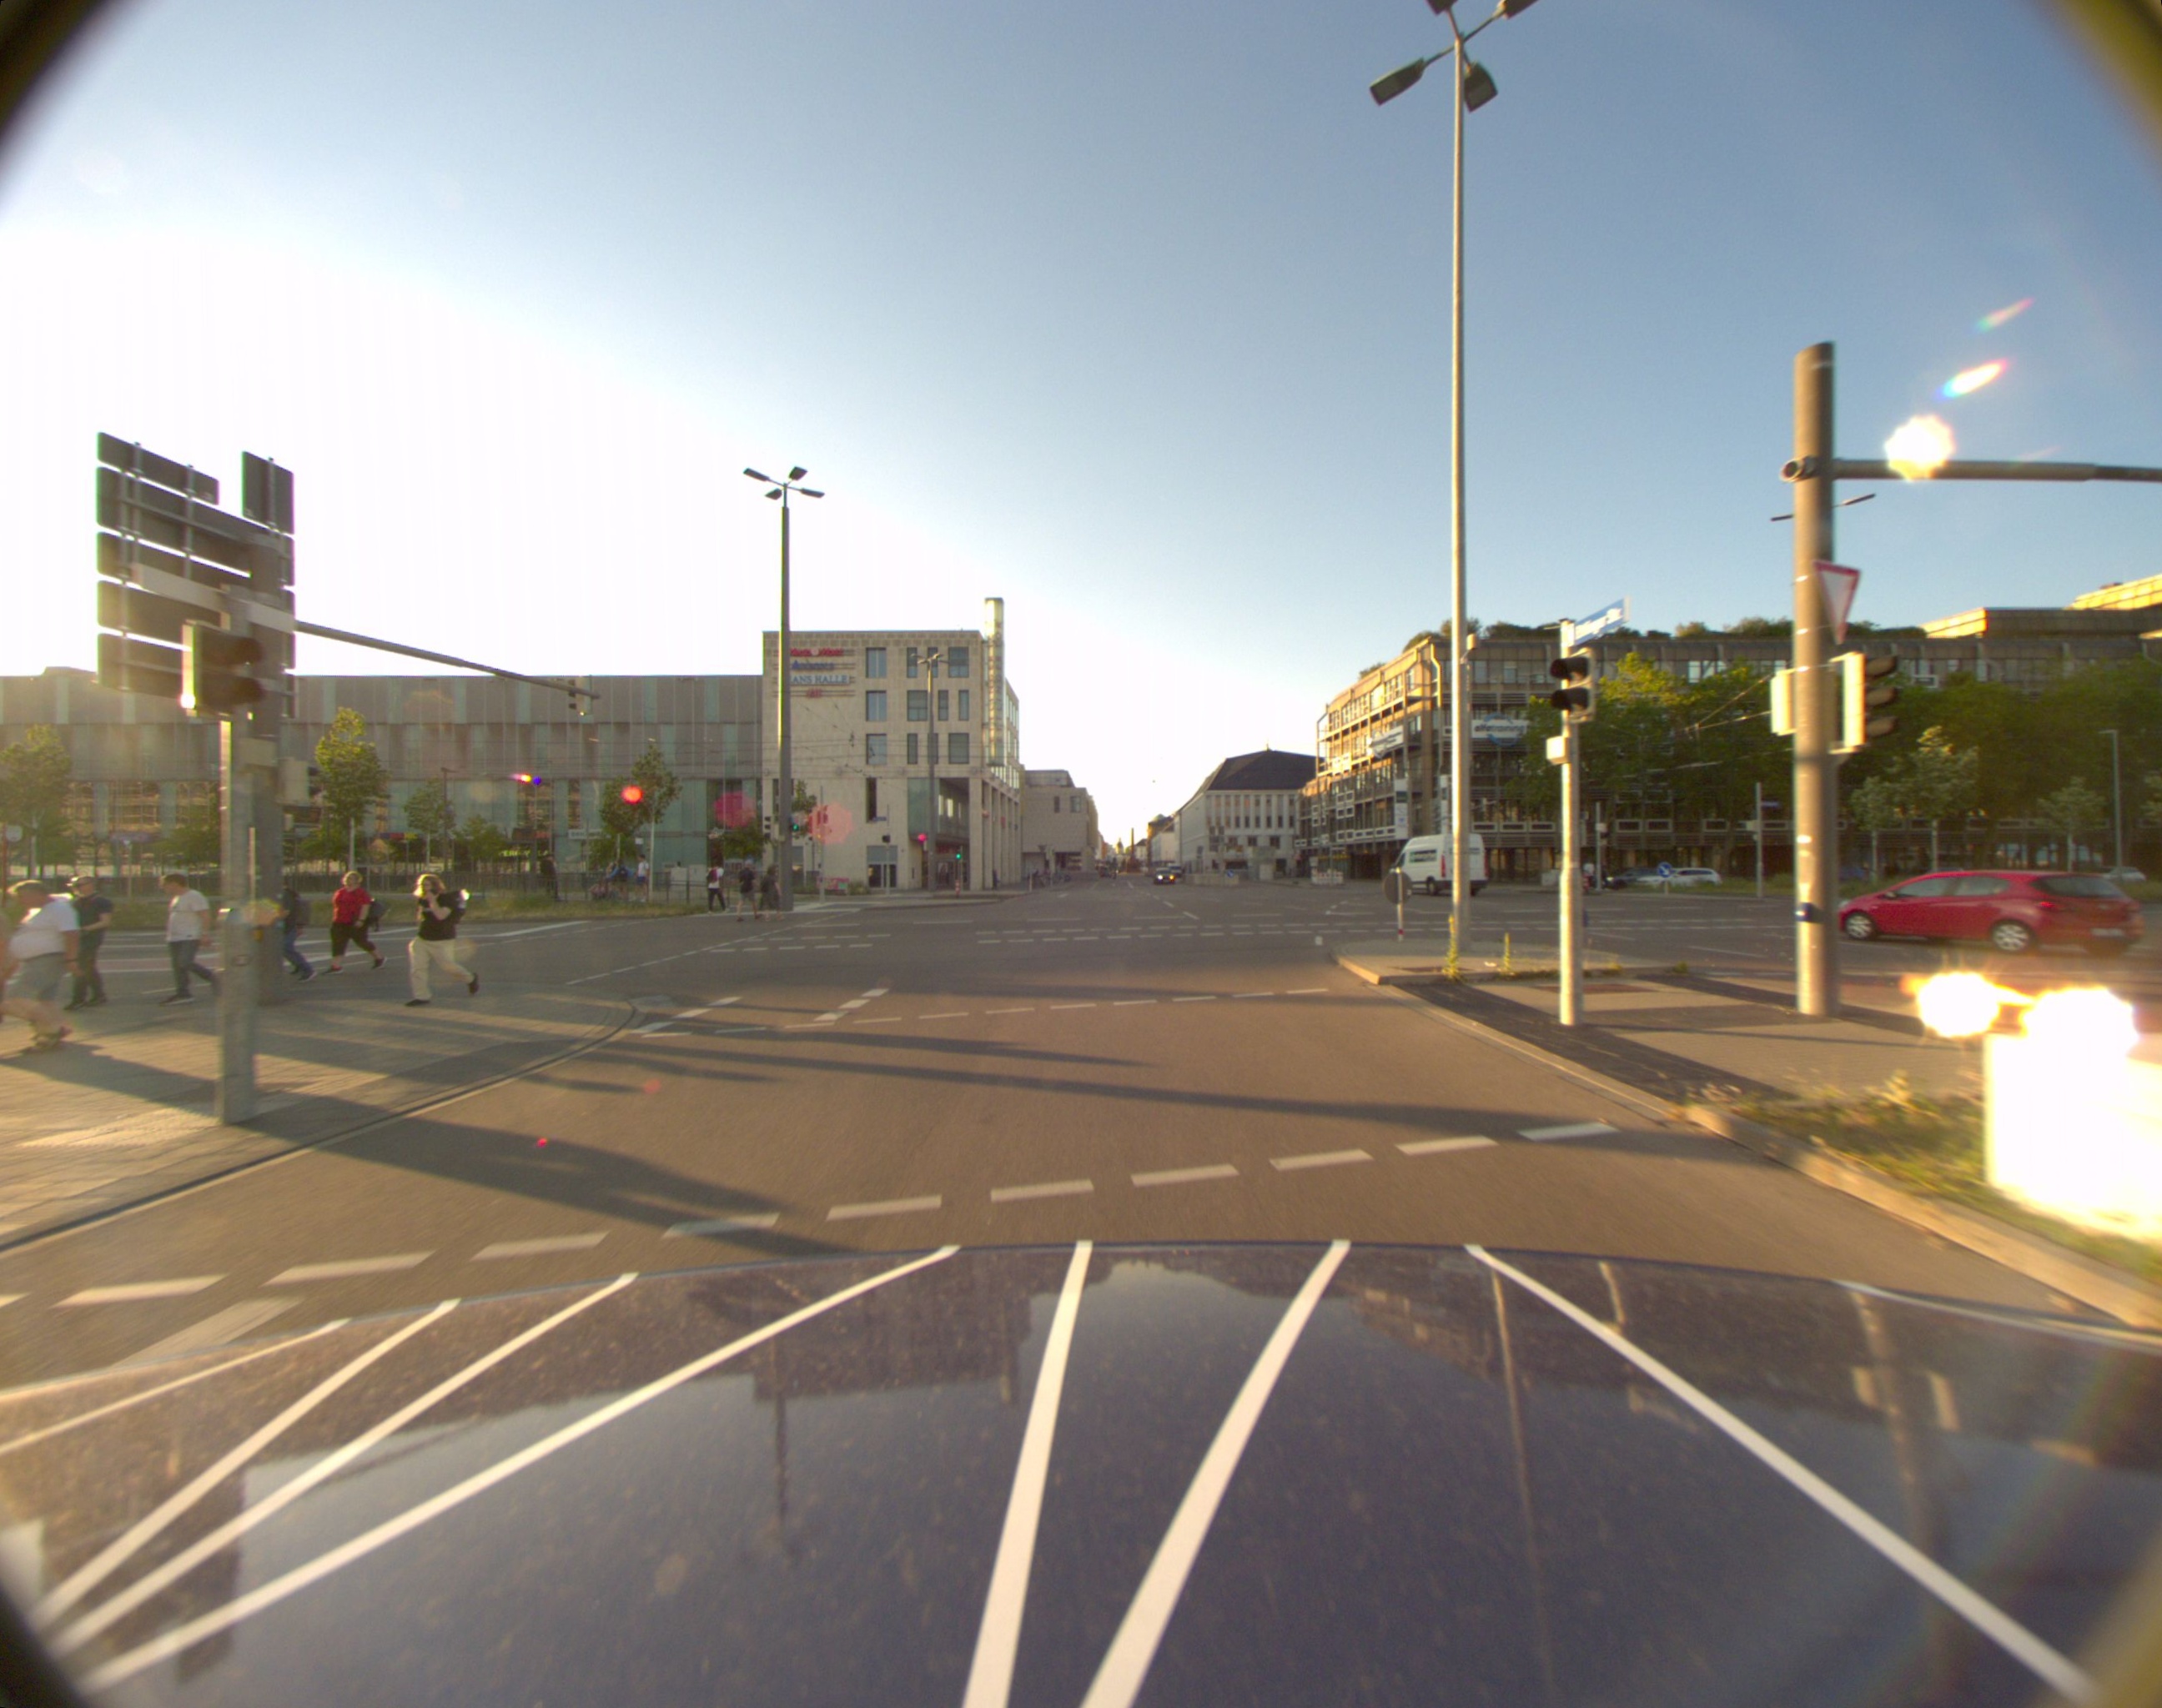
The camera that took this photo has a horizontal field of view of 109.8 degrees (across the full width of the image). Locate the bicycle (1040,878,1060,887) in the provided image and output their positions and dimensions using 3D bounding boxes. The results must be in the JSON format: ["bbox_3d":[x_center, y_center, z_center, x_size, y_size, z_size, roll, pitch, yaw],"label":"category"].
[{"bbox_3d":[-3.442,3.190,85.407,2.210,1.034,0.509,-1,-1,0],"label":"bicycle"}]

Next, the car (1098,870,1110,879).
[{"bbox_3d":[4.300,3.721,139.231,2.071,1.641,4.002,-1,-1,4],"label":"car"}]

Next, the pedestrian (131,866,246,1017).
[{"bbox_3d":[-12.007,1.139,10.242,0.644,1.956,0.763,-1,0,5],"label":"pedestrian"}]

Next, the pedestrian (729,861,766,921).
[{"bbox_3d":[-9.783,1.082,22.297,0.644,1.720,0.871,-1,0,5],"label":"pedestrian"}]

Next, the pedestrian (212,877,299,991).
[{"bbox_3d":[-13.481,1.286,12.416,0.644,1.735,0.576,7,1,4],"label":"pedestrian"}]

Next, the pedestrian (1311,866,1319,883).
[{"bbox_3d":[24.371,2.156,79.284,0.645,1.702,0.682,-1,-1,5],"label":"pedestrian"}]

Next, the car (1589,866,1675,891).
[{"bbox_3d":[37.020,1.644,51.126,4.397,1.641,1.859,-1,-1,1],"label":"car"}]

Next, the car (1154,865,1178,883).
[{"bbox_3d":[7.980,1.865,71.727,2.071,1.641,4.001,-1,0,4],"label":"car"}]

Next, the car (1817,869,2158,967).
[{"bbox_3d":[16.576,1.069,14.263,1.639,1.517,4.000,-1,0,0],"label":"car"}]

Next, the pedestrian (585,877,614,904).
[{"bbox_3d":[-17.587,1.326,27.766,0.649,0.957,0.654,-1,-1,-3],"label":"pedestrian"}]

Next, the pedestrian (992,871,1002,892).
[{"bbox_3d":[-6.691,2.212,60.870,0.765,1.696,0.834,0,-1,-6],"label":"pedestrian"}]

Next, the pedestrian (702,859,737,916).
[{"bbox_3d":[-11.716,1.081,24.652,0.644,1.802,0.871,-1,1,5],"label":"pedestrian"}]

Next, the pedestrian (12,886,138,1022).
[{"bbox_3d":[-13.228,1.284,10.016,0.644,1.702,0.763,-1,-1,5],"label":"pedestrian"}]

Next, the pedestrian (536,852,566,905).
[{"bbox_3d":[-18.706,0.844,26.816,0.604,1.843,0.587,0,0,5],"label":"pedestrian"}]

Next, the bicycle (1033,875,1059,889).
[{"bbox_3d":[-3.501,2.797,75.624,2.507,1.316,0.619,-1,0,2],"label":"bicycle"}]

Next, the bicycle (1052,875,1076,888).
[{"bbox_3d":[-1.822,2.925,80.263,2.507,1.316,0.619,-1,0,2],"label":"bicycle"}]

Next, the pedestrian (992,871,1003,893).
[{"bbox_3d":[-6.536,2.186,59.627,0.764,1.696,0.834,-1,-1,1],"label":"pedestrian"}]

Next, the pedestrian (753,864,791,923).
[{"bbox_3d":[-8.981,1.137,22.143,0.644,1.650,0.871,-1,3,5],"label":"pedestrian"}]

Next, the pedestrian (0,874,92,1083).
[{"bbox_3d":[-10.324,1.167,7.371,0.644,1.922,0.619,-1,0,5],"label":"pedestrian"}]

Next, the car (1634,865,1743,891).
[{"bbox_3d":[38.160,1.493,47.809,5.159,1.575,2.001,-1,-1,2],"label":"car"}]

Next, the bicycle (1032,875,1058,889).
[{"bbox_3d":[-3.547,2.781,74.569,2.507,1.316,0.619,-1,0,2],"label":"bicycle"}]

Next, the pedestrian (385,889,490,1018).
[{"bbox_3d":[-8.550,1.290,10.129,0.644,1.618,0.871,-1,-1,2],"label":"pedestrian"}]

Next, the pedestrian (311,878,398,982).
[{"bbox_3d":[-12.417,1.277,13.012,0.644,1.702,0.871,-1,-1,4],"label":"pedestrian"}]

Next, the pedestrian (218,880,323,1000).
[{"bbox_3d":[-12.339,1.287,11.595,0.644,1.704,0.762,0,4,4],"label":"pedestrian"}]

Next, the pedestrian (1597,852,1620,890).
[{"bbox_3d":[26.673,0.857,38.420,0.644,1.920,0.681,-1,0,0],"label":"pedestrian"}]

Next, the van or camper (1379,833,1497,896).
[{"bbox_3d":[16.385,0.533,35.354,2.233,2.650,6.162,0,-1,-4],"label":"van or camper"}]

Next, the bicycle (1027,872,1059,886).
[{"bbox_3d":[-3.534,2.327,70.547,2.804,1.208,0.765,-1,-1,12],"label":"bicycle"}]

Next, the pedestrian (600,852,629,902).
[{"bbox_3d":[-17.576,0.875,28.652,0.896,1.843,0.724,1,2,-31],"label":"pedestrian"}]

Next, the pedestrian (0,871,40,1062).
[{"bbox_3d":[-11.314,1.158,7.787,0.642,1.923,0.620,0,3,32],"label":"pedestrian"}]

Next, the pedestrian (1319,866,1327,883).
[{"bbox_3d":[25.198,2.145,79.184,0.651,1.702,0.650,-1,-1,5],"label":"pedestrian"}]

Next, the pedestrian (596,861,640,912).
[{"bbox_3d":[-16.460,1.136,27.038,0.868,1.714,1.009,3,1,29],"label":"pedestrian"}]

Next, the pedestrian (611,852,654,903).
[{"bbox_3d":[-16.651,0.857,28.247,0.892,1.843,1.007,2,1,15],"label":"pedestrian"}]
